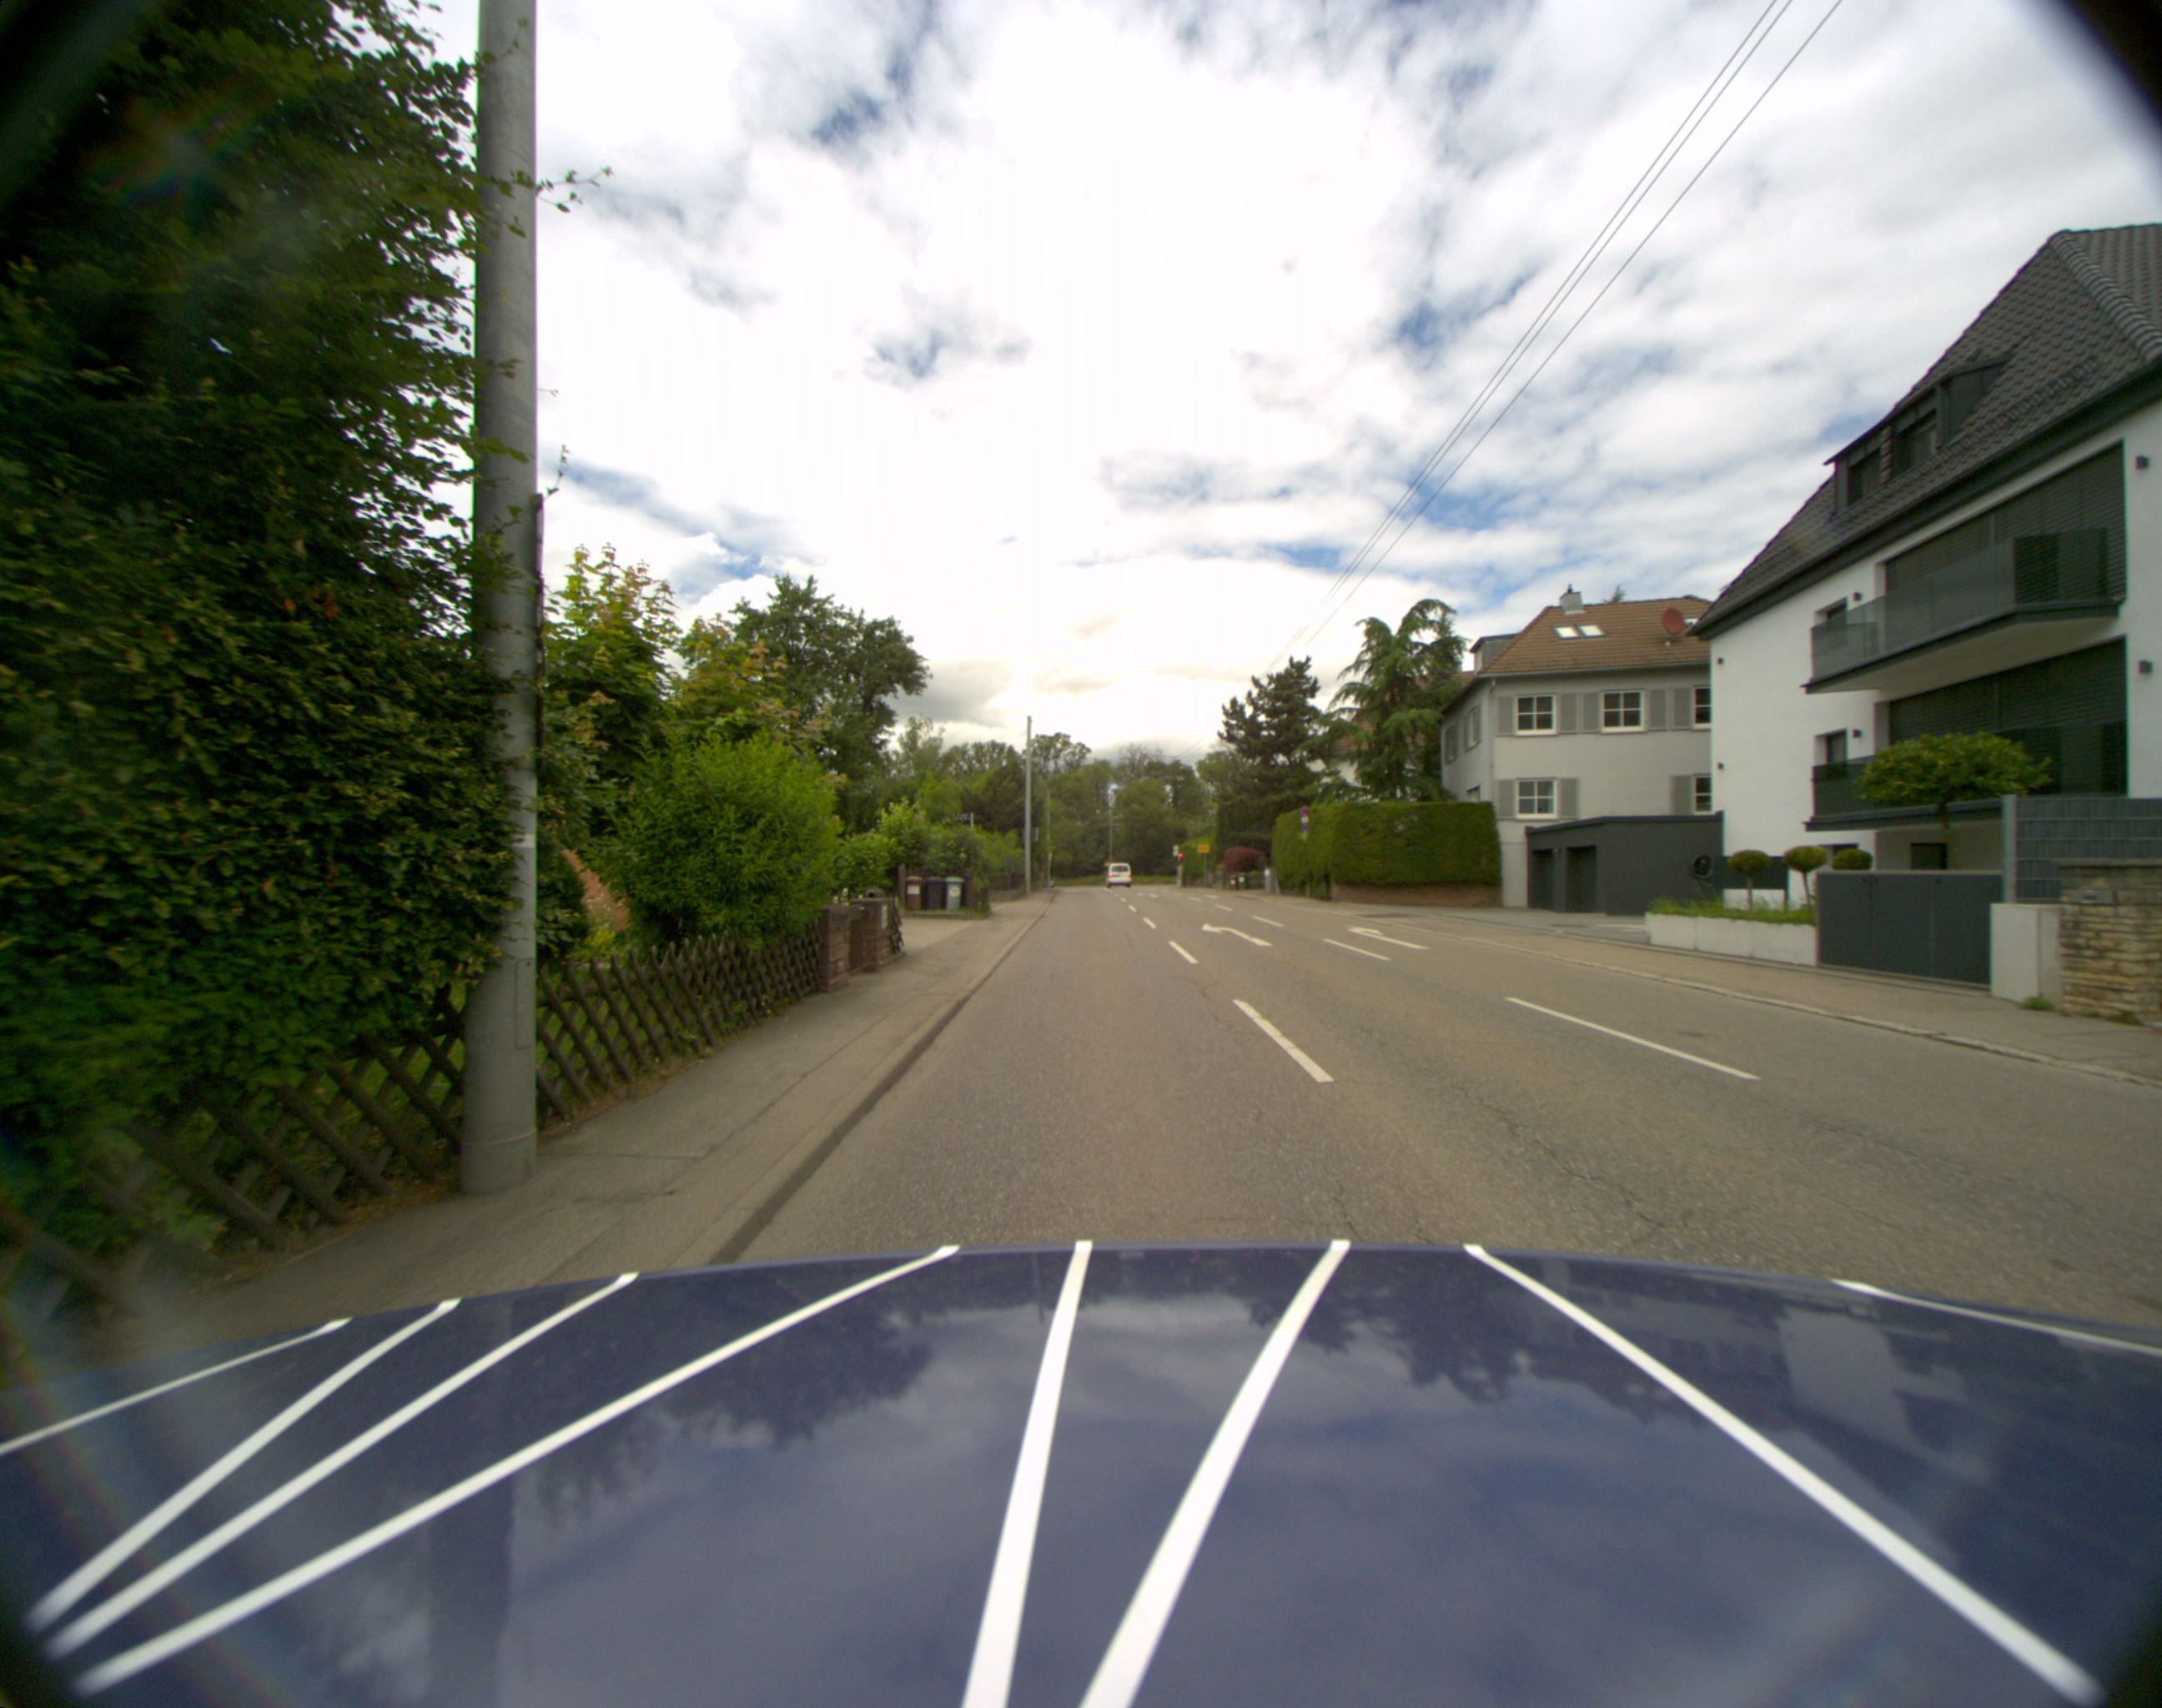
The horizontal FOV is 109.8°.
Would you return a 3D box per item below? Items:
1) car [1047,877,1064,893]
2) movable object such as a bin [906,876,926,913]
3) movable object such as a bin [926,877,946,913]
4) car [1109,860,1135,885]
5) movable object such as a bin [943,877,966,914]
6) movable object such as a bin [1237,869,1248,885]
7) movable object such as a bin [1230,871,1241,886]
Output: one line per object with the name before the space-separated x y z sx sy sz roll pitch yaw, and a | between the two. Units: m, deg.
car | -2.953 3.565 87.943 1.863 1.855 4.611 0 -1 -3
movable object such as a bin | -4.439 1.094 20.449 0.448 0.950 0.685 3 -1 -16
movable object such as a bin | -3.929 1.105 20.574 0.448 0.950 0.685 3 -1 -16
car | 3.392 1.549 64.250 1.863 2.035 5.172 0 -1 0
movable object such as a bin | -3.458 1.129 20.738 0.448 0.950 0.685 3 -1 -20
movable object such as a bin | 10.335 1.470 48.483 0.479 1.028 0.717 -2 -1 29
movable object such as a bin | 9.909 1.553 48.743 0.464 0.936 0.648 -2 -1 29
